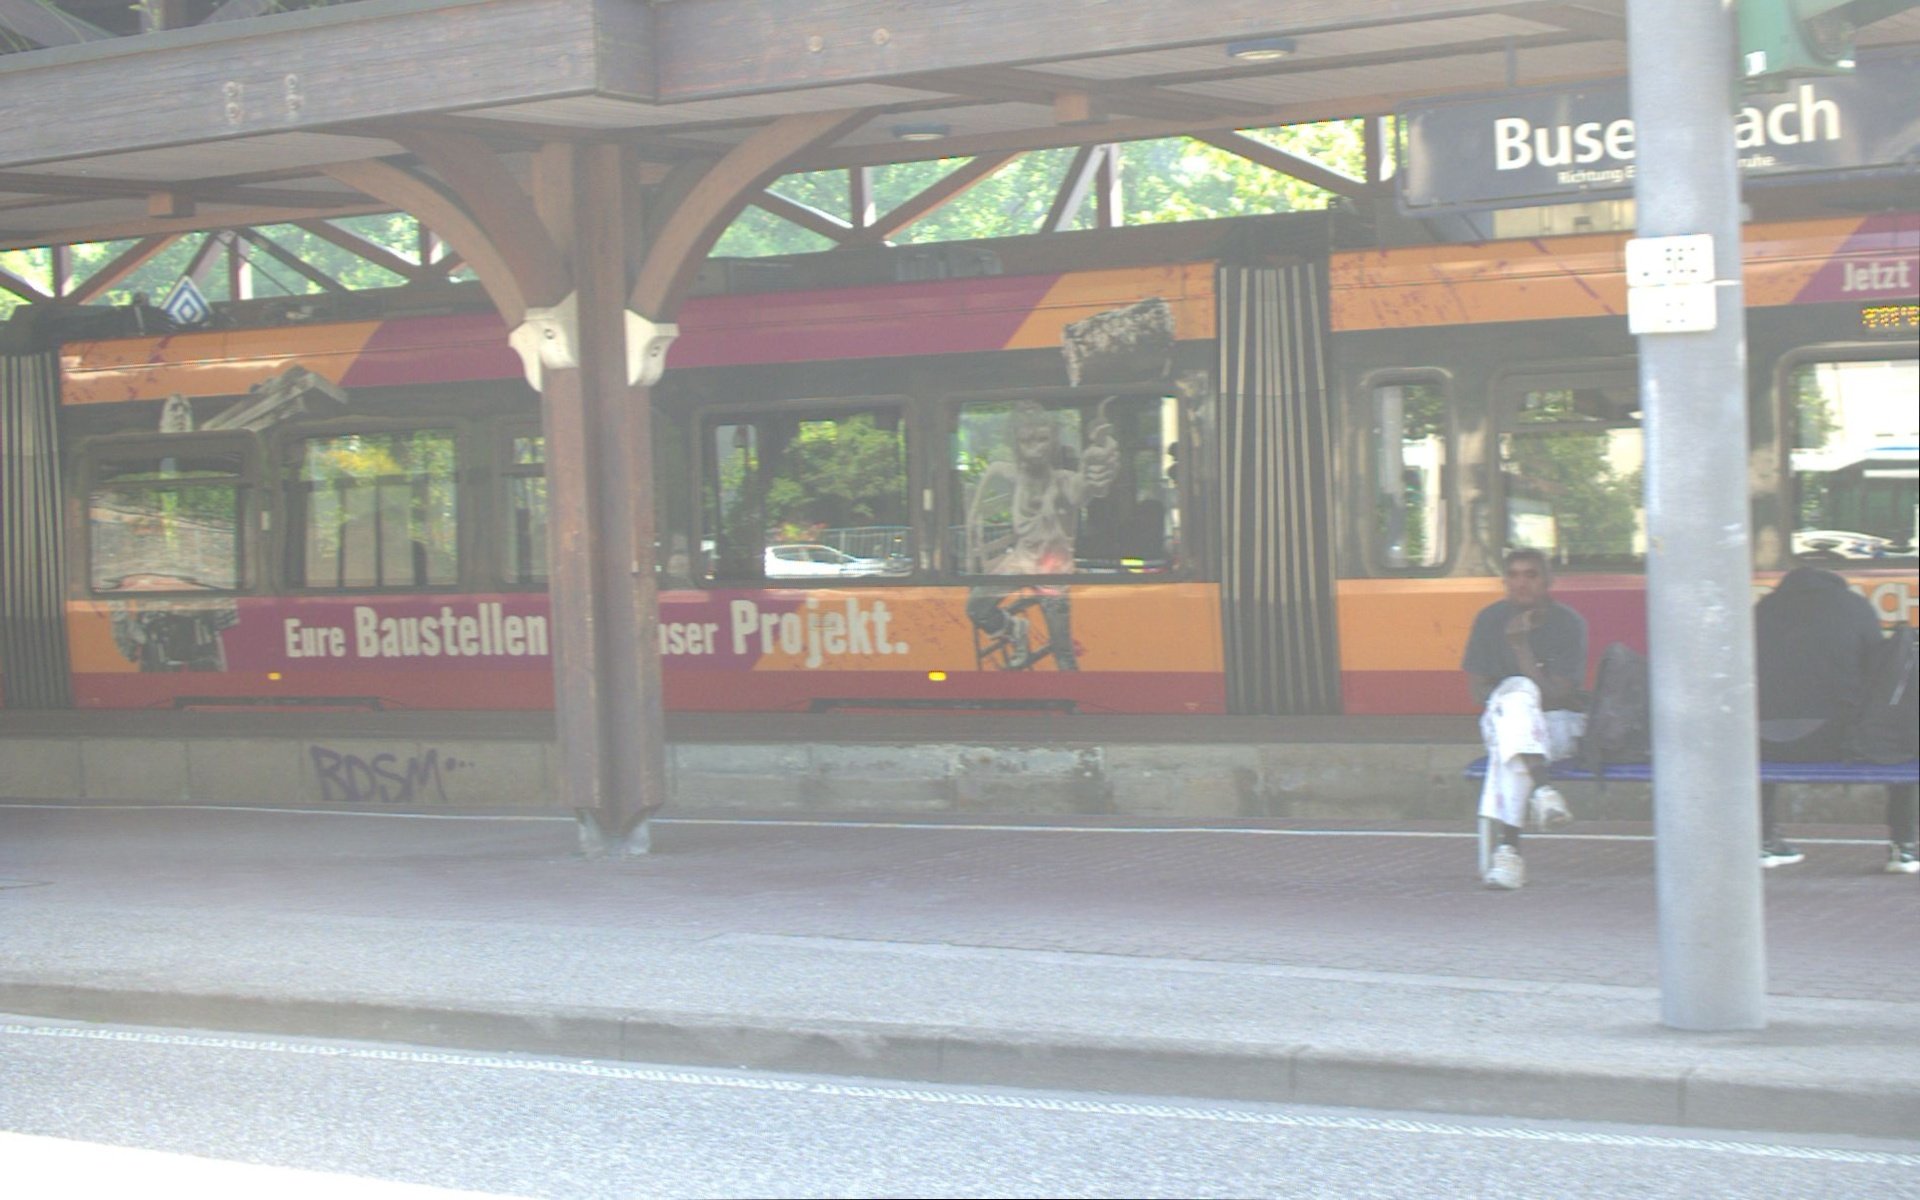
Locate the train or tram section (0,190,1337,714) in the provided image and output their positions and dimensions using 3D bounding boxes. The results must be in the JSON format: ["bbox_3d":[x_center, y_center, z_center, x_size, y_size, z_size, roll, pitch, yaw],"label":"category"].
[{"bbox_3d":[-3.183,-0.895,26.390,12.029,3.353,2.790,-1,0,32],"label":"train or tram section"}]

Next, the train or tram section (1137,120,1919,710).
[{"bbox_3d":[8.064,-1.086,19.674,14.330,3.353,2.860,0,1,30],"label":"train or tram section"}]

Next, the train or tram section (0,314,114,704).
[{"bbox_3d":[-13.347,-0.817,32.776,12.031,3.353,2.760,0,0,33],"label":"train or tram section"}]

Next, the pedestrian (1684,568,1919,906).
[{"bbox_3d":[3.206,0.474,12.492,0.947,1.156,1.008,-1,1,22],"label":"pedestrian"}]

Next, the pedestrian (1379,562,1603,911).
[{"bbox_3d":[1.983,0.482,12.757,0.595,1.231,0.993,1,0,22],"label":"pedestrian"}]
